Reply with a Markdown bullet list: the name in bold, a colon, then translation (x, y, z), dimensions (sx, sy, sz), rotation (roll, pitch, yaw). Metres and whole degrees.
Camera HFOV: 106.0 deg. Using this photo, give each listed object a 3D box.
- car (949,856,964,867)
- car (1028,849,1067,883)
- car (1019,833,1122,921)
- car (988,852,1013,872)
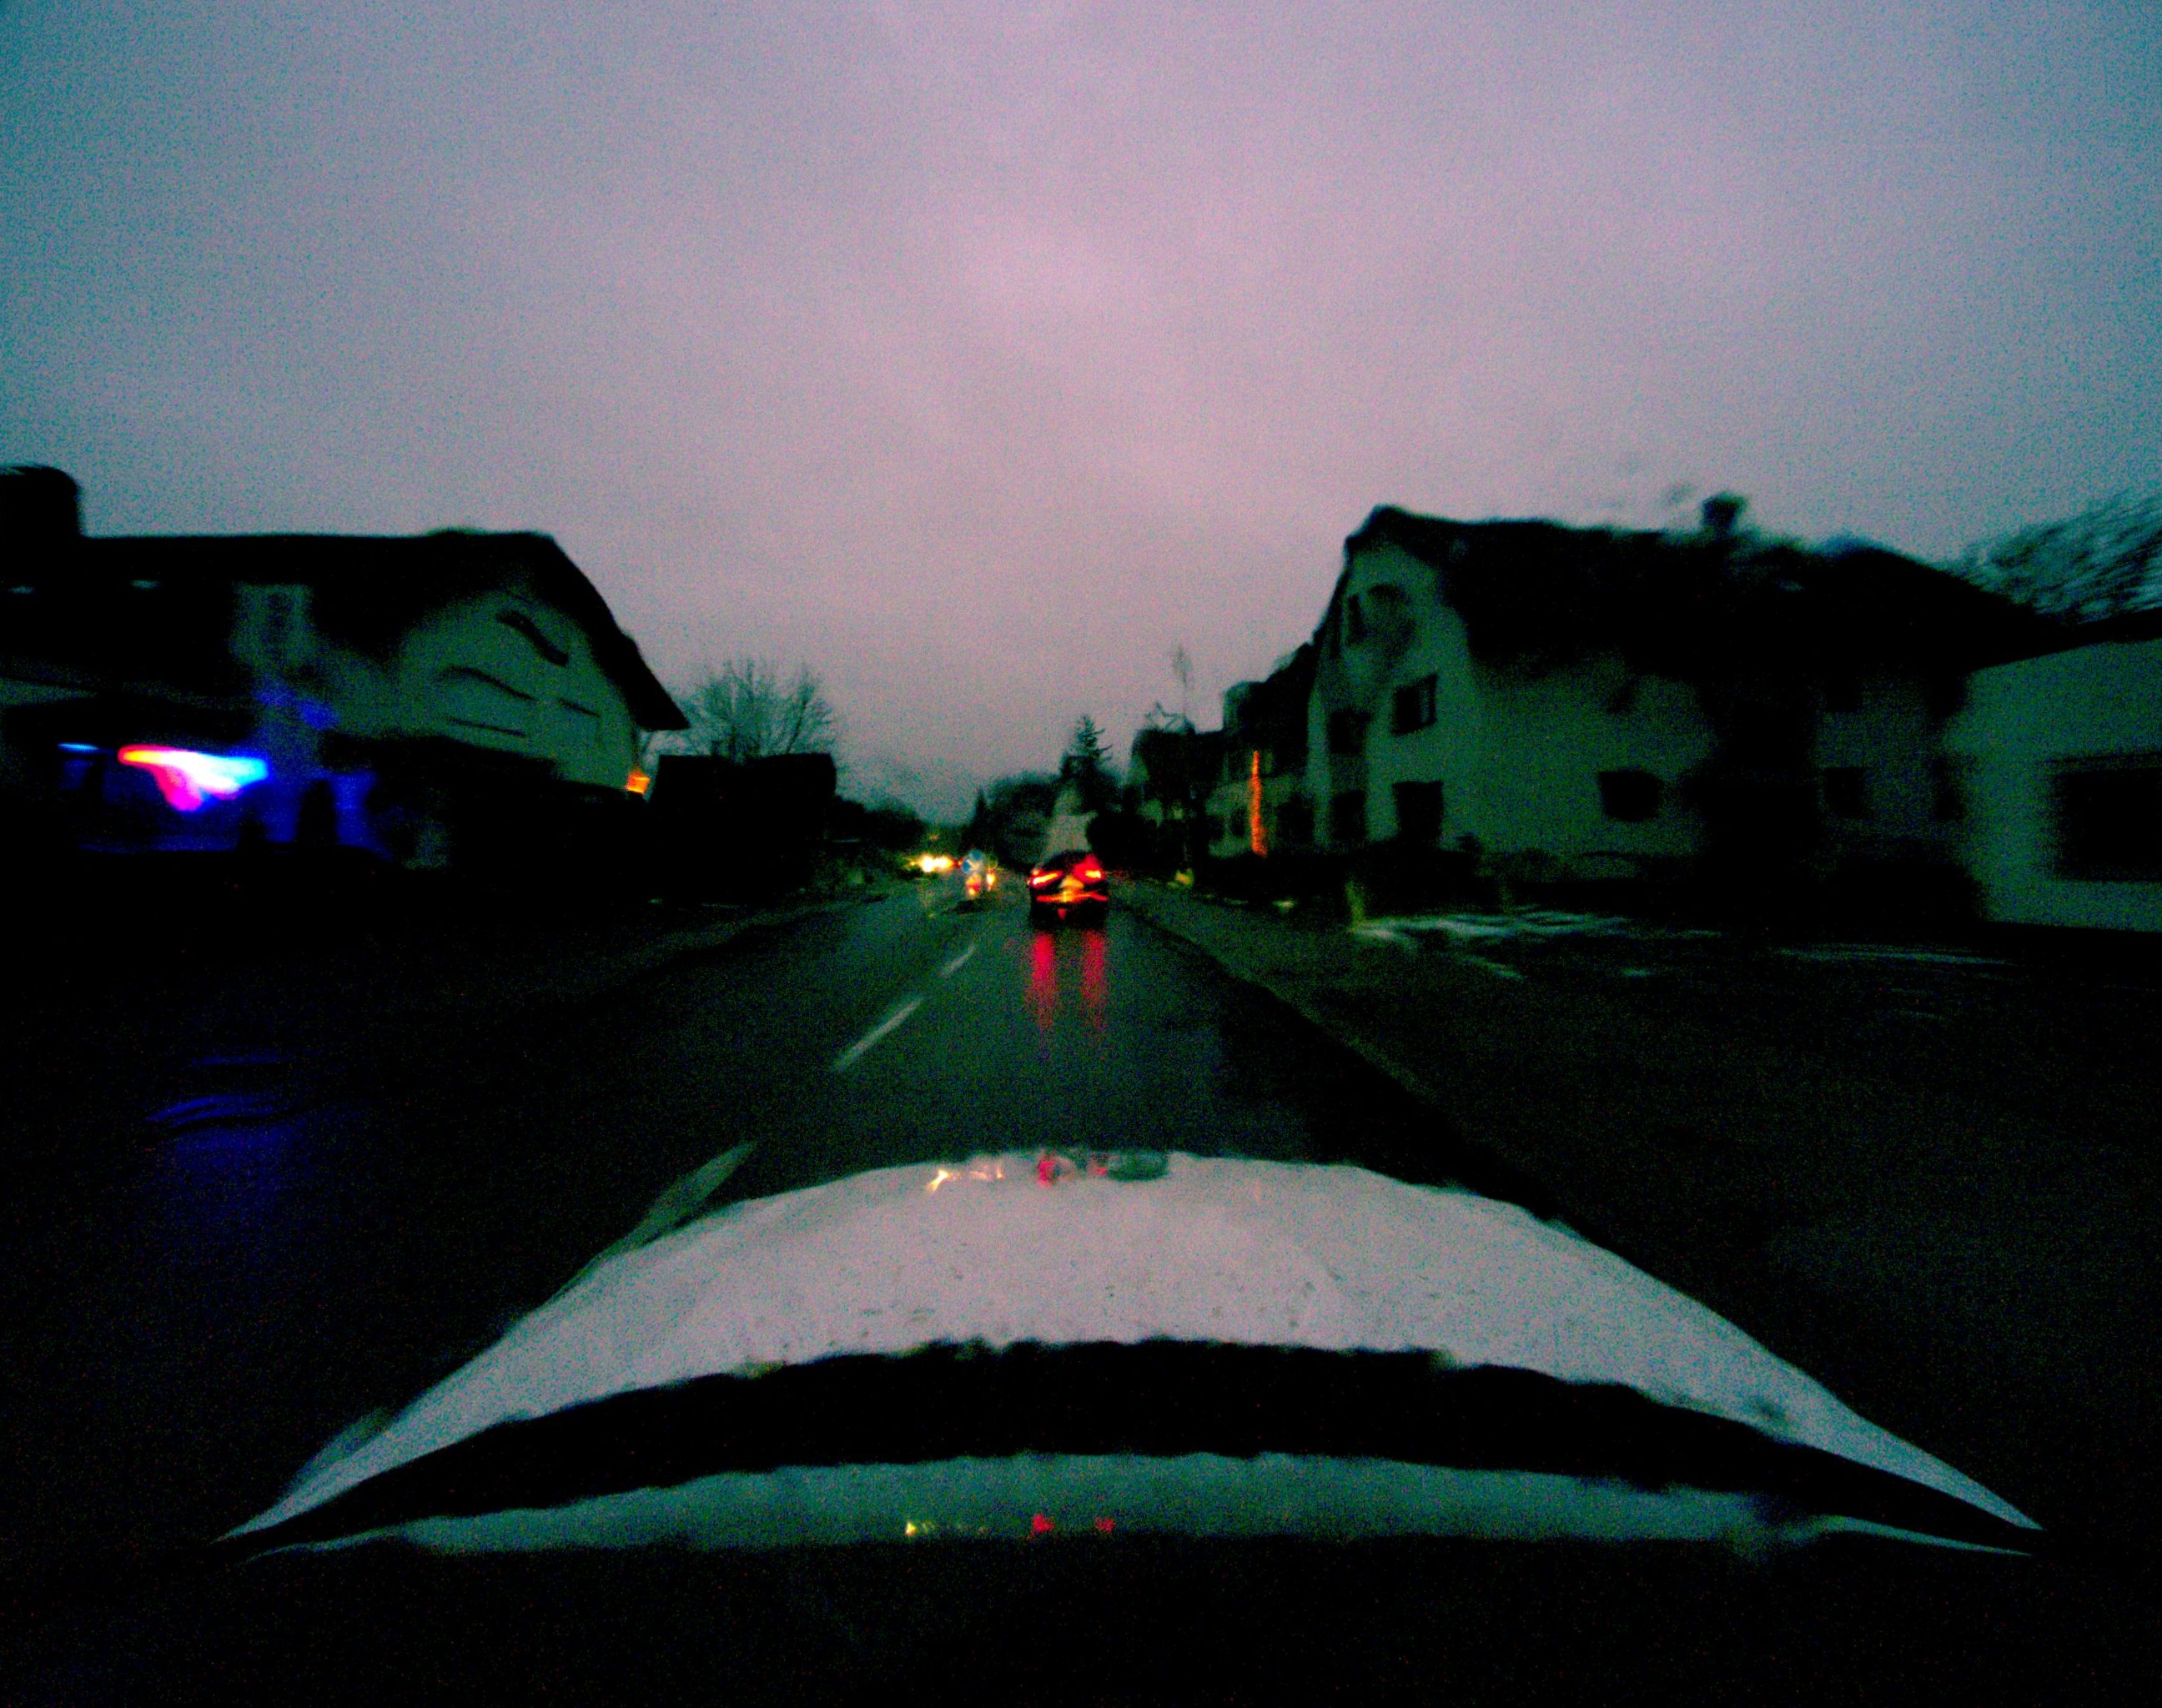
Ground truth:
- **car**: translation (-17.074, 1.031, 111.309), dimensions (1.843, 1.331, 3.922), rotation (-2, 0, -11)
- **car**: translation (-1.781, 0.552, 41.962), dimensions (1.854, 1.647, 3.994), rotation (-1, 0, -5)
- **car**: translation (-0.344, 0.549, 21.202), dimensions (2.304, 1.938, 5.013), rotation (-2, 0, -3)
- **car**: translation (-8.327, 0.840, 83.882), dimensions (2.309, 1.938, 5.002), rotation (-2, 0, -9)
